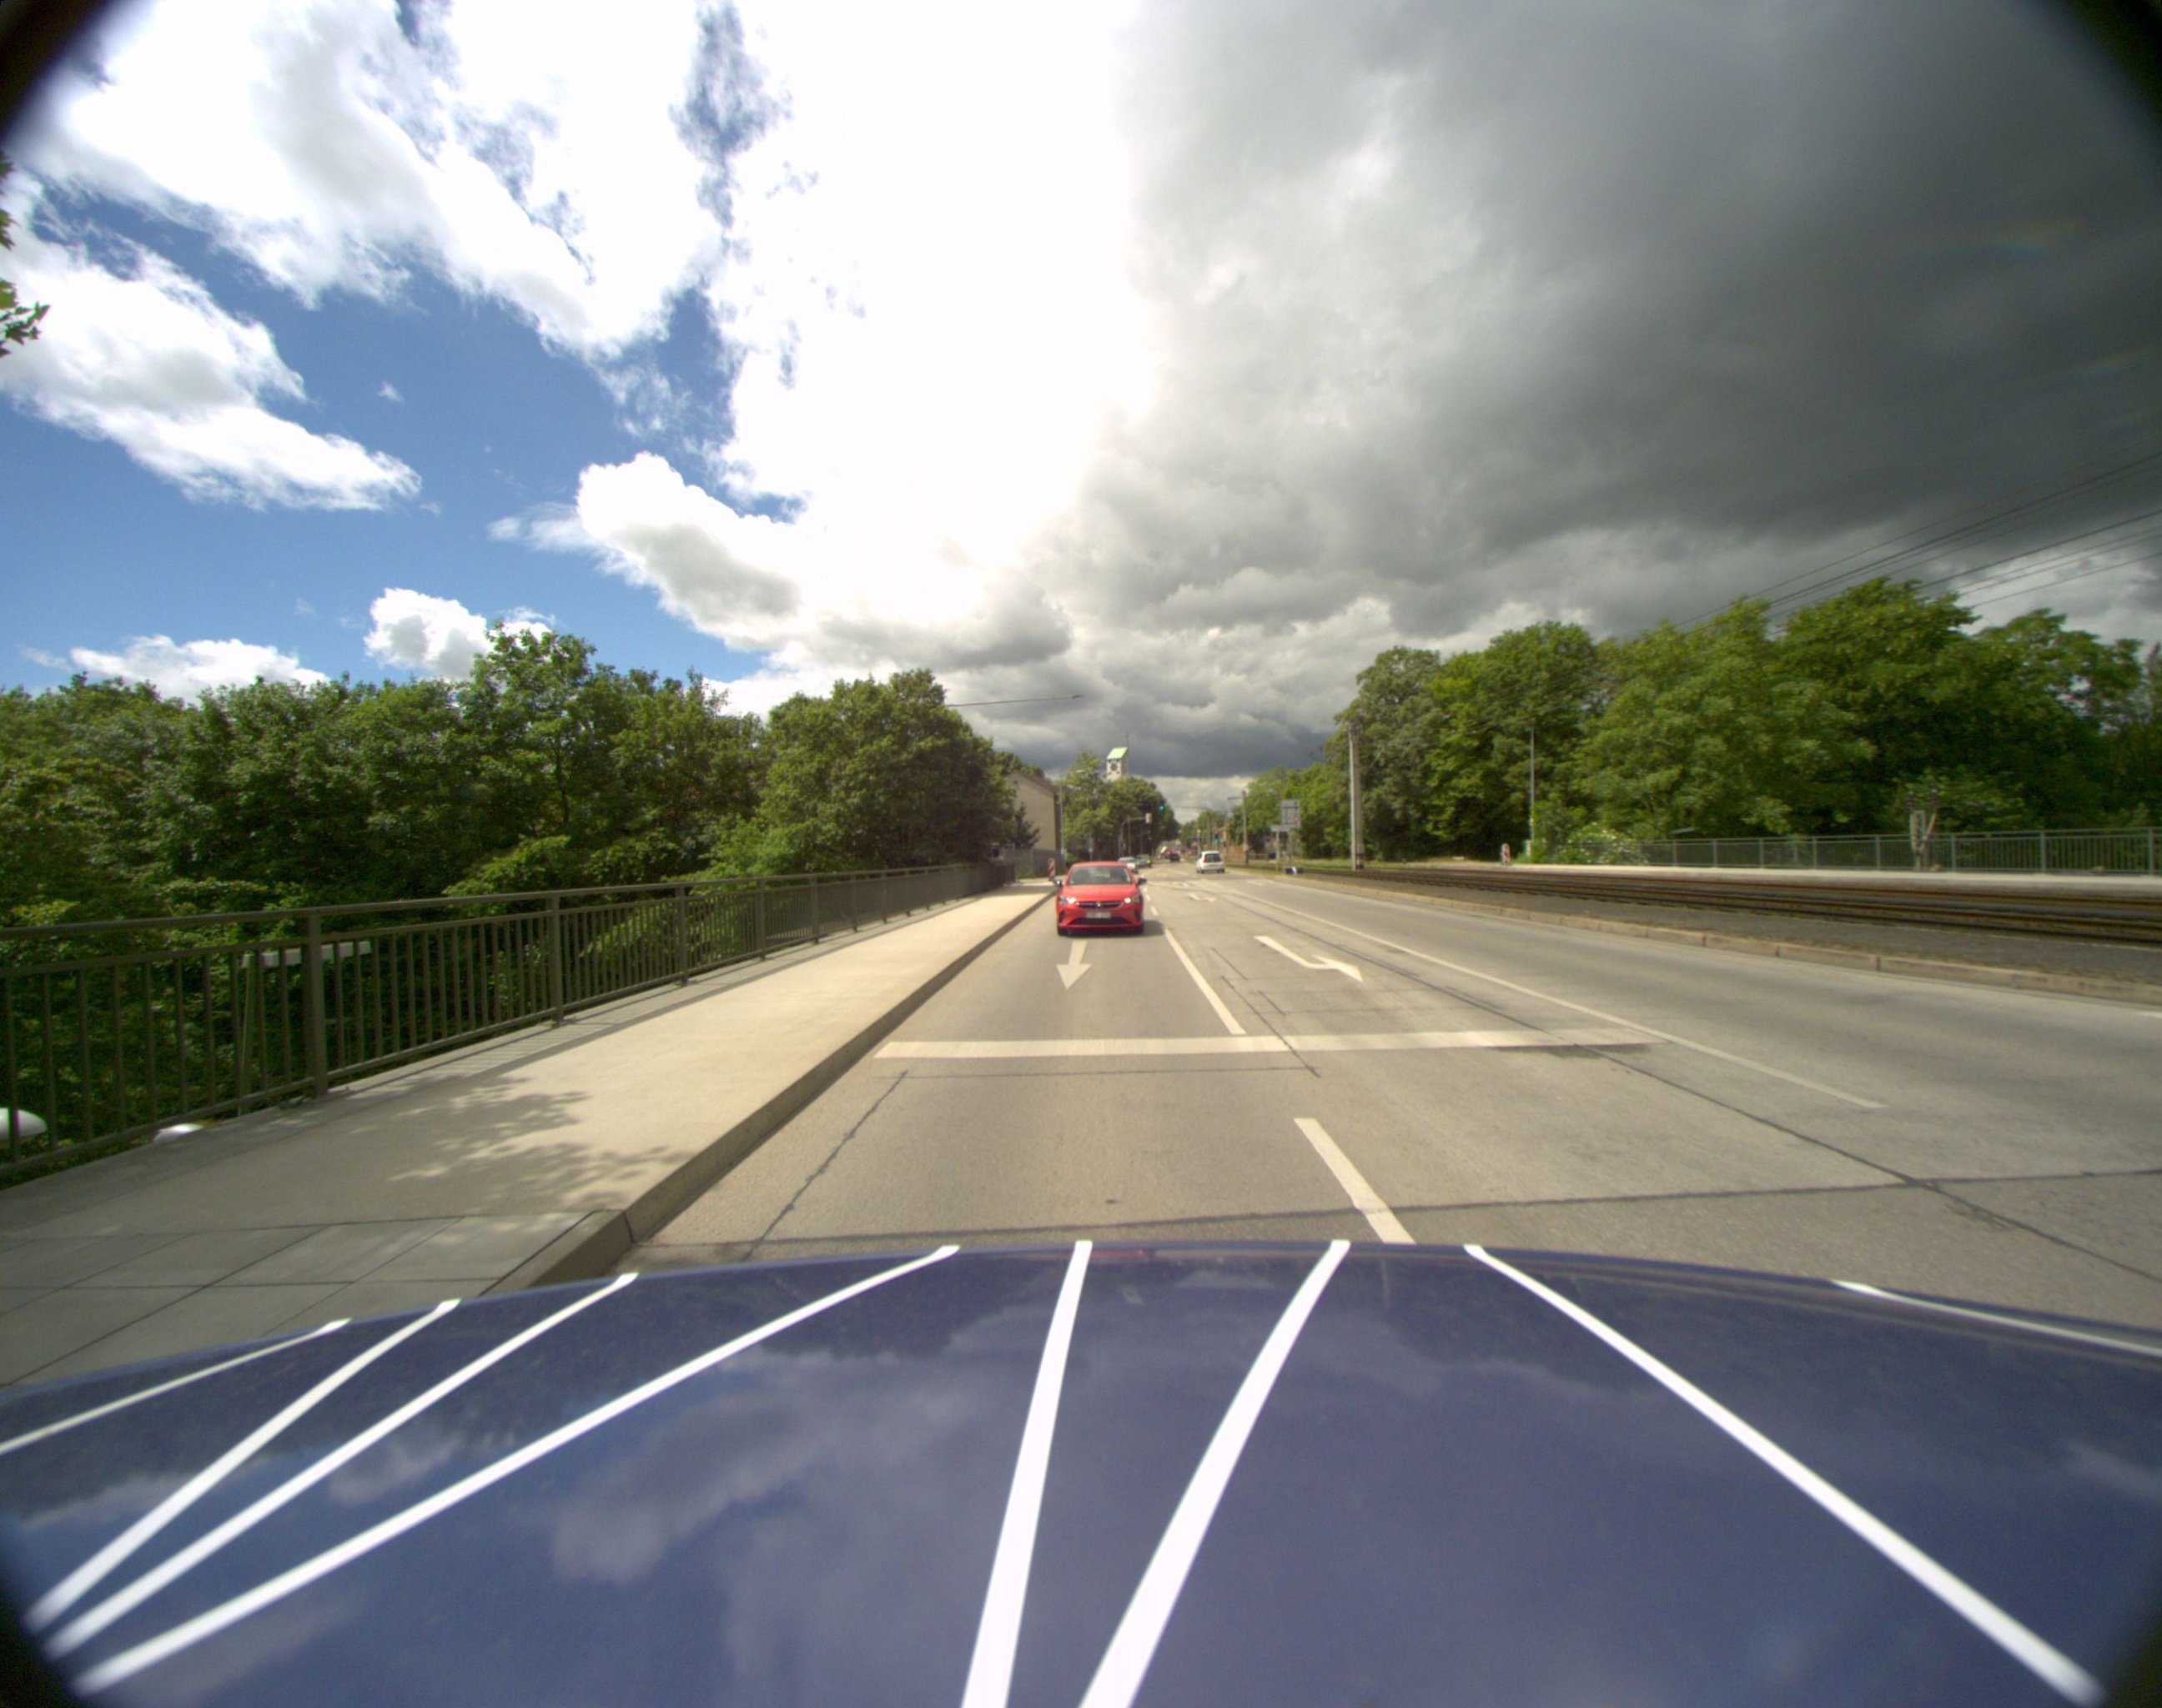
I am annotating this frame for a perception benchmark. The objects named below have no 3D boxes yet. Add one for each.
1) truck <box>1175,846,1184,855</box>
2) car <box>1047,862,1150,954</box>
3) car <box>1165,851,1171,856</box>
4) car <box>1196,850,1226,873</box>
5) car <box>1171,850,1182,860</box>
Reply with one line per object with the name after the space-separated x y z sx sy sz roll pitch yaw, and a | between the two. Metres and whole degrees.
29.157 -1.064 224.486 2.095 2.723 5.099 -4 1 5 | truck
0.473 0.950 15.081 1.665 1.513 3.788 0 0 7 | car
26.549 -0.206 231.947 1.584 1.477 3.809 -4 0 11 | car
9.171 0.519 53.727 1.597 1.518 3.655 -2 1 2 | car
17.592 0.216 139.765 1.711 1.666 4.229 -4 0 6 | car
